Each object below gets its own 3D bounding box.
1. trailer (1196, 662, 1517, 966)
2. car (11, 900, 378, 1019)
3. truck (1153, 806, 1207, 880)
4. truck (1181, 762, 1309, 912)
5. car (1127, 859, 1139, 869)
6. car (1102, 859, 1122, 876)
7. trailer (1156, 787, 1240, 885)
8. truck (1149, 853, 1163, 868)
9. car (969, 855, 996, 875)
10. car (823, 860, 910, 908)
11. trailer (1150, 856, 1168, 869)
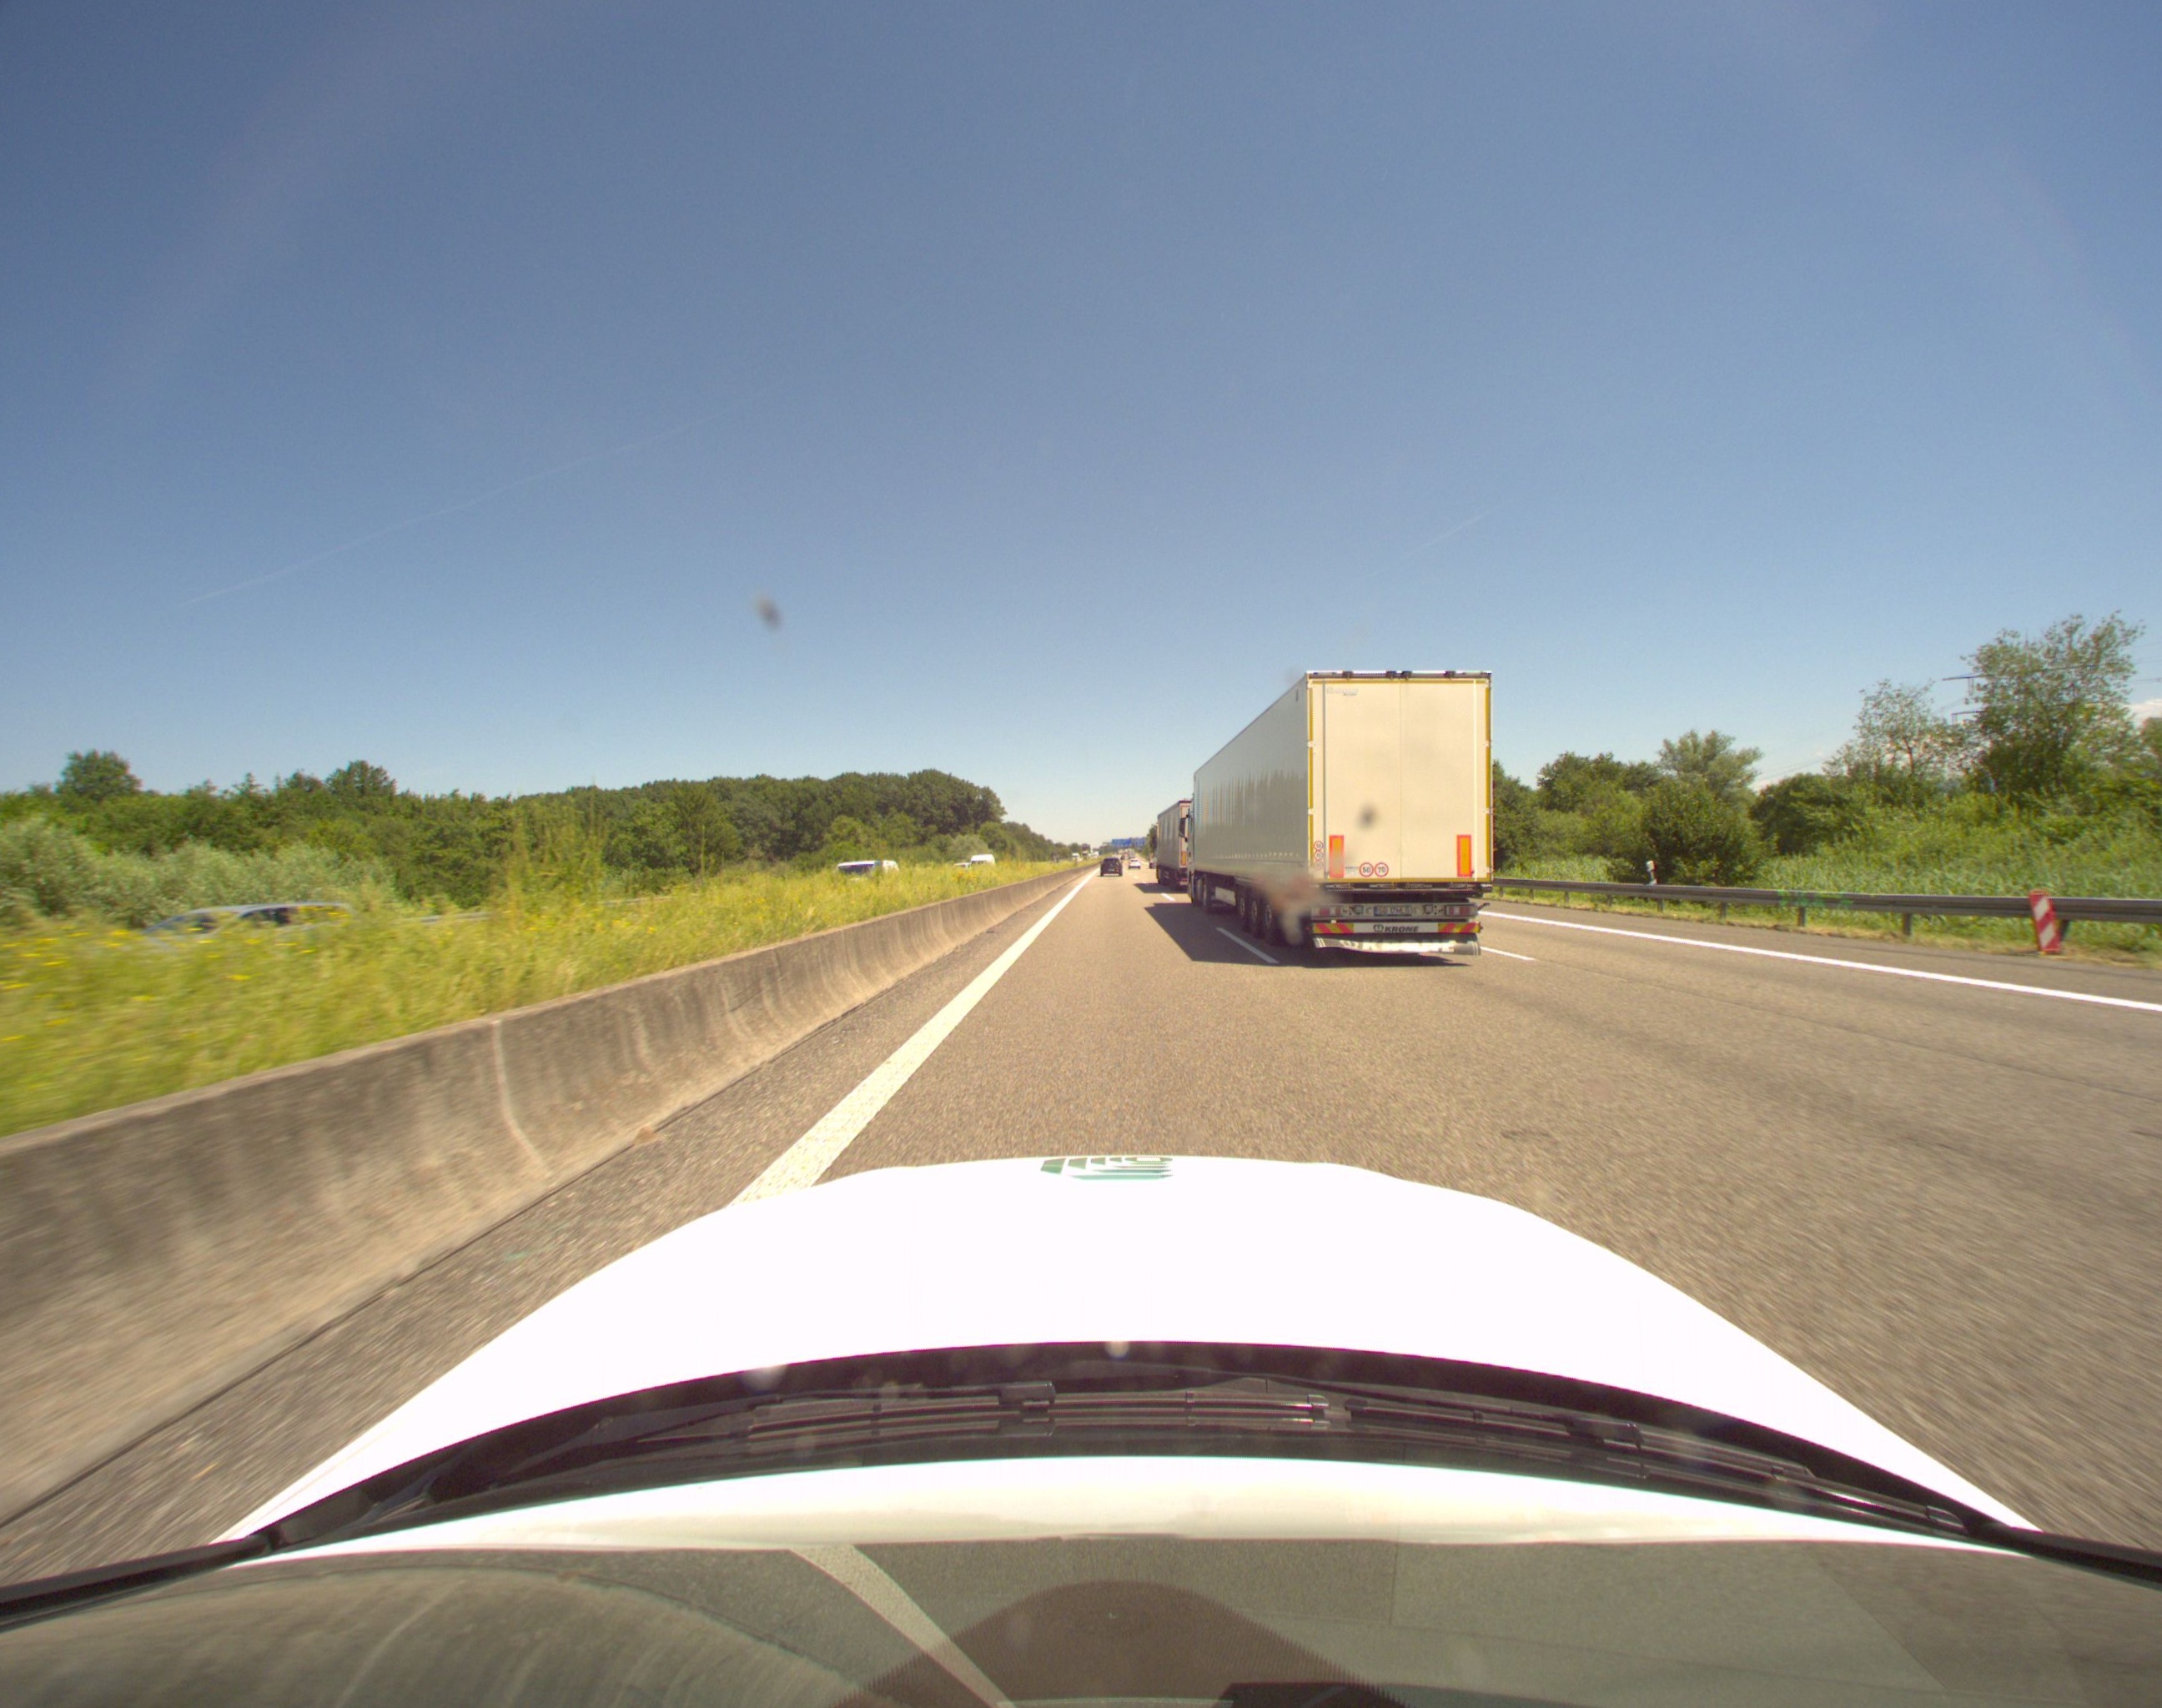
[{"bbox_3d":[4.575,-0.510,17.191,2.784,4.035,12.571,-1,0,1],"label":"trailer"},{"bbox_3d":[-16.275,1.841,15.410,1.954,1.676,4.464,-1,0,2],"label":"car"},{"bbox_3d":[5.861,-0.578,49.000,2.690,4.094,6.456,-1,-1,2],"label":"truck"},{"bbox_3d":[4.778,-0.443,24.865,2.789,4.007,6.022,-1,0,1],"label":"truck"},{"bbox_3d":[8.126,1.585,127.705,1.733,1.486,4.002,-1,0,2],"label":"car"},{"bbox_3d":[2.806,1.207,74.216,1.654,1.549,3.783,-1,0,1],"label":"car"},{"bbox_3d":[5.604,-0.656,41.630,2.697,4.068,14.752,-1,-1,2],"label":"trailer"},{"bbox_3d":[12.457,1.106,134.771,1.986,2.373,4.646,-1,0,1],"label":"truck"},{"bbox_3d":[-10.602,1.161,88.133,1.986,2.014,6.559,1,0,2],"label":"car"},{"bbox_3d":[-8.667,1.152,33.393,1.986,1.720,5.119,-2,0,2],"label":"car"},{"bbox_3d":[12.332,1.295,129.412,2.412,2.013,6.035,-1,0,1],"label":"trailer"}]
